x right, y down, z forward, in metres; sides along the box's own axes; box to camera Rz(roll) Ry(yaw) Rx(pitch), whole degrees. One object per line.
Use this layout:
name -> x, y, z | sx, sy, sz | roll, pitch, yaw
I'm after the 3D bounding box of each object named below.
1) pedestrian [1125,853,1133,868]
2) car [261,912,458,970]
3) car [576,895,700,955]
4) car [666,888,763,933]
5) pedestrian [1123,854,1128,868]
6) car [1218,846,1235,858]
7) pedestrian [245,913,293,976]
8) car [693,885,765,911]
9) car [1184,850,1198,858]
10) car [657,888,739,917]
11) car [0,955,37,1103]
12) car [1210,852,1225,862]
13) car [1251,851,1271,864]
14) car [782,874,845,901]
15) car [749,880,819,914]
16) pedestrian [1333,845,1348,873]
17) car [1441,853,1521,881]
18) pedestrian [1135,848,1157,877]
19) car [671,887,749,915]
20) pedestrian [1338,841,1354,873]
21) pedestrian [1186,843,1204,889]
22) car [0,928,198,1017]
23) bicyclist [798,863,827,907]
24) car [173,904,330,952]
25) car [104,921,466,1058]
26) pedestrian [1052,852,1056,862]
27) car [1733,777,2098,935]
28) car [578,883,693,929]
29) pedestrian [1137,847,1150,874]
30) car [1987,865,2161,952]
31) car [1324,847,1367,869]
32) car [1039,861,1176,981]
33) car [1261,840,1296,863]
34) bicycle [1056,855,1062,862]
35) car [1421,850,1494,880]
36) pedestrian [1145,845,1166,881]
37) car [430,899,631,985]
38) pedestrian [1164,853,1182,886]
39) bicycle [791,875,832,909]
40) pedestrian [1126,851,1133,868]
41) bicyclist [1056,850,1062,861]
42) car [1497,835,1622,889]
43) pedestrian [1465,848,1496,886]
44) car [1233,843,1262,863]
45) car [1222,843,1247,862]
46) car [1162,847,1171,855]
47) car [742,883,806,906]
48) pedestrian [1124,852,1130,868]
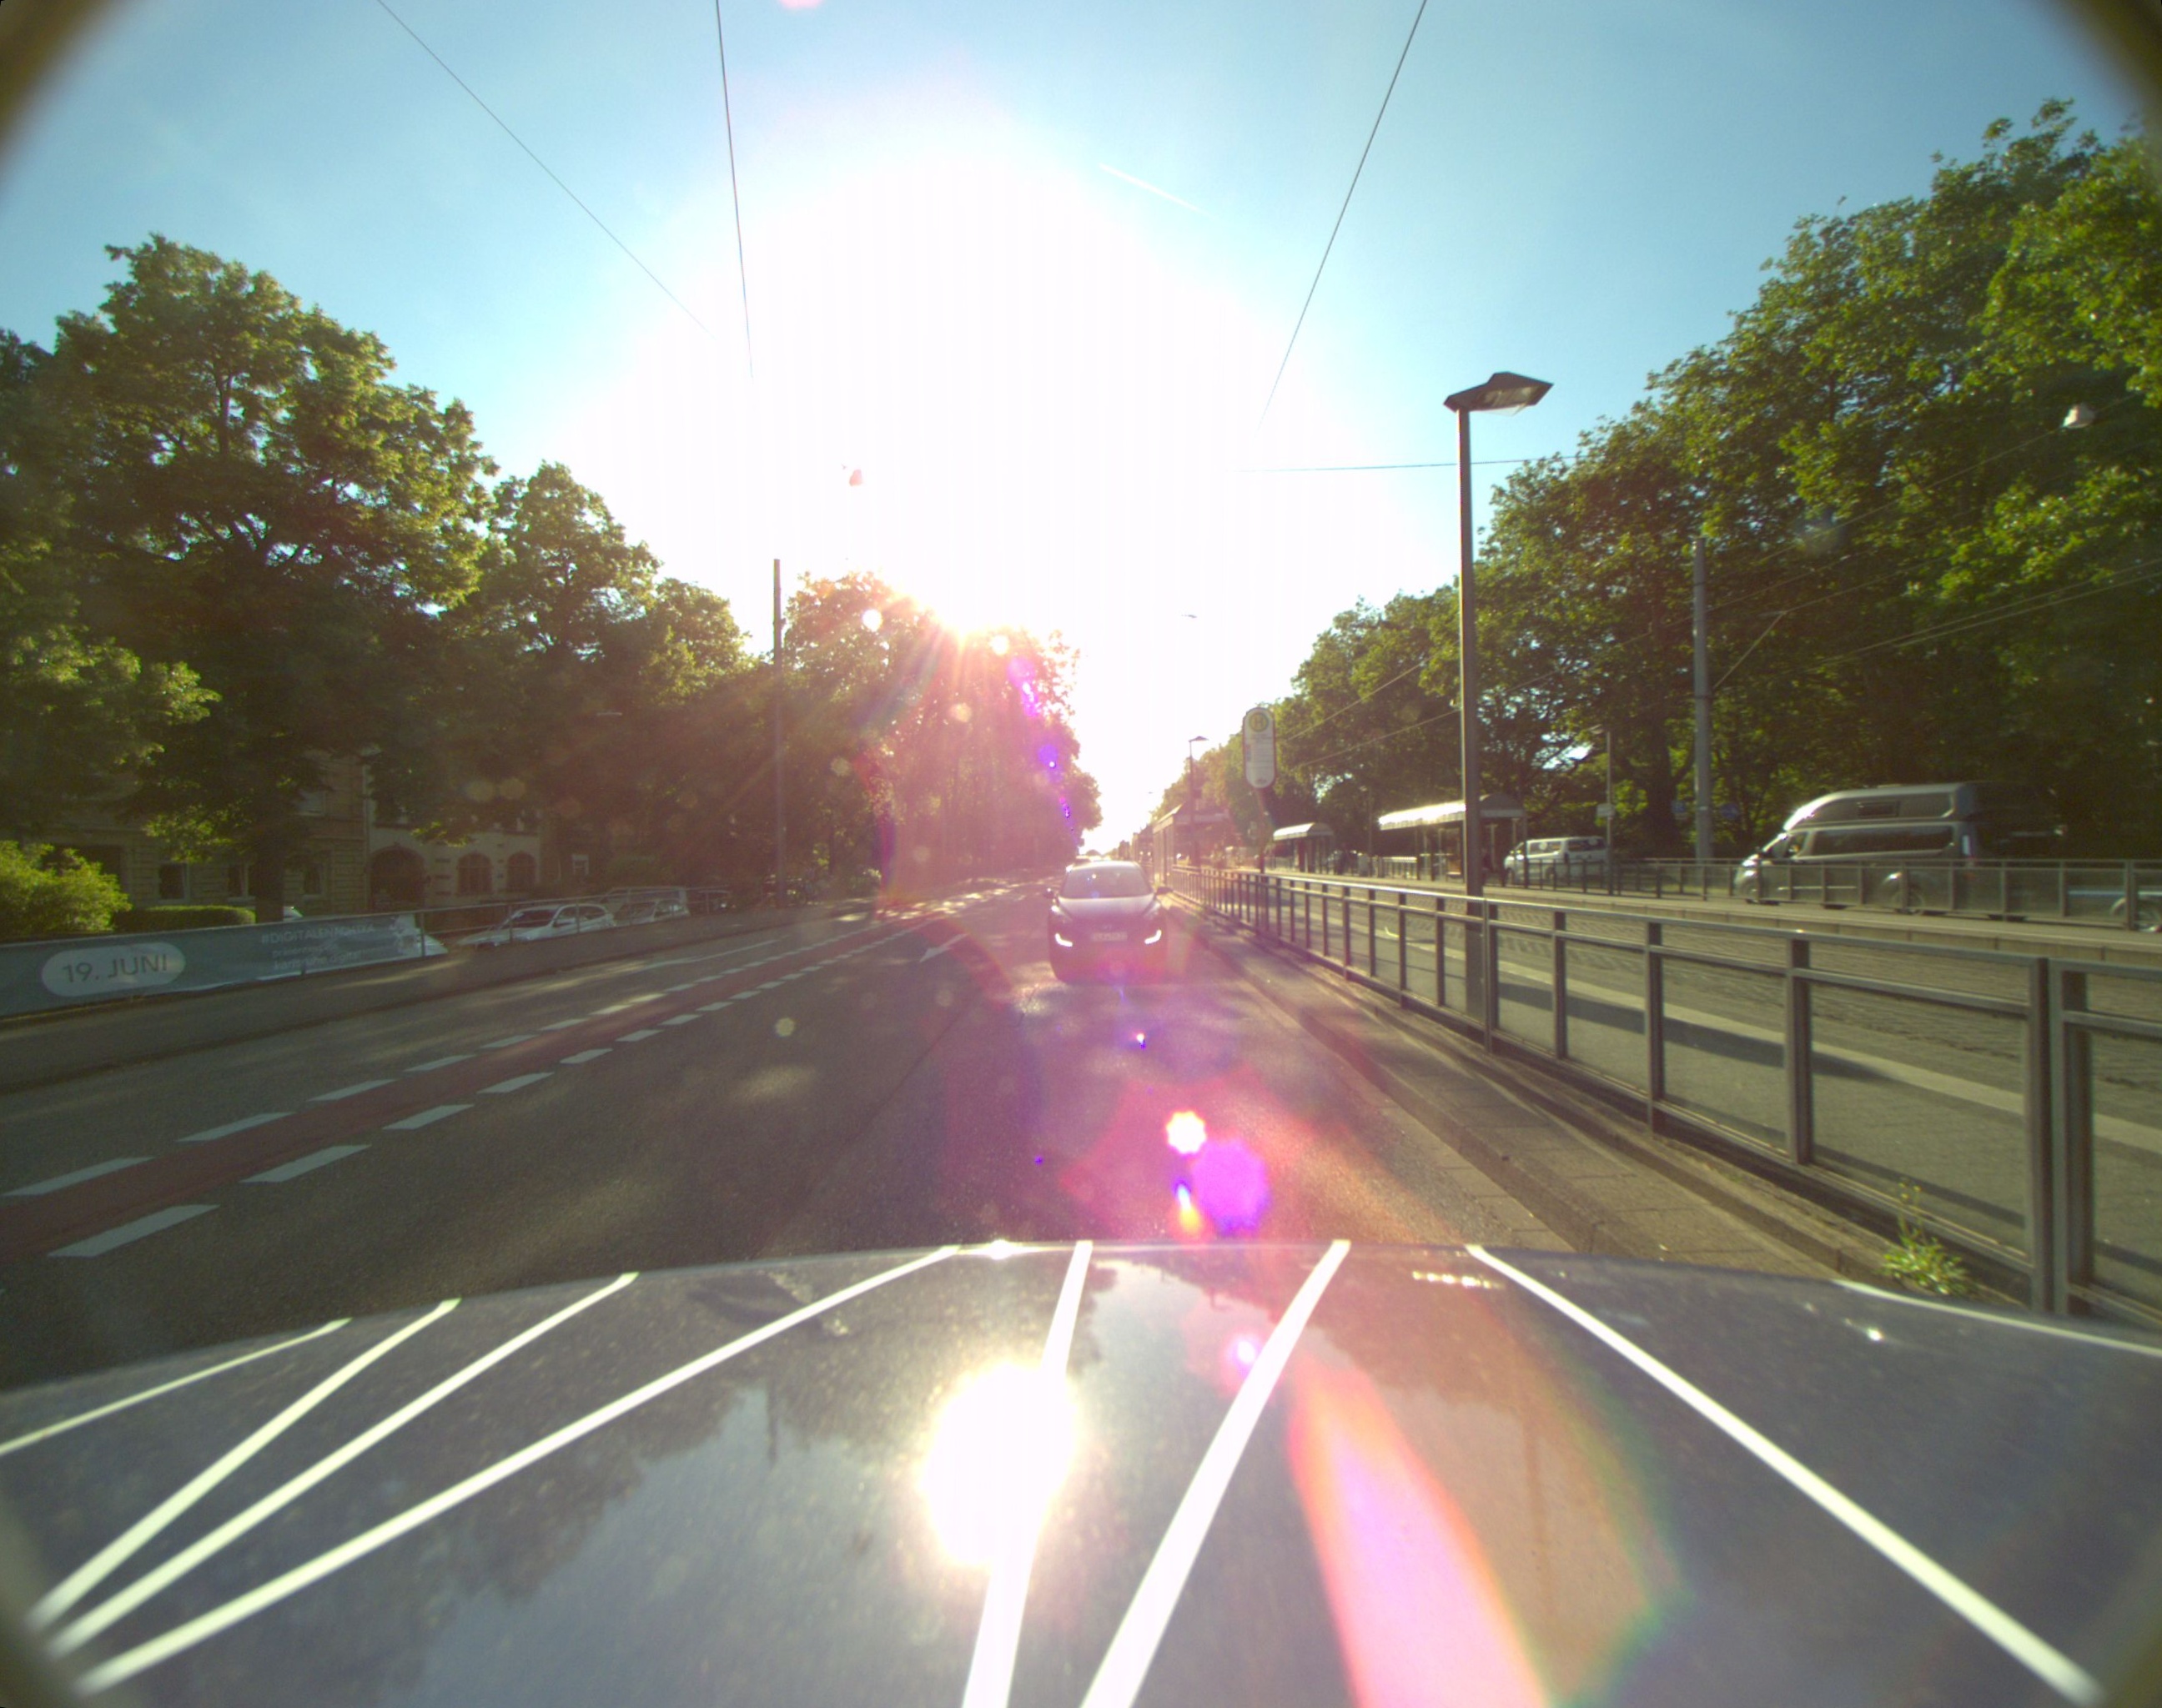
pedestrian -> 4.549, 0.621, 71.737 | 0.592, 1.398, 0.558 | 0, 1, -19
car -> -20.965, 2.504, 22.197 | 3.997, 1.505, 1.800 | 0, 0, -1
car -> -14.025, 2.202, 24.296 | 1.799, 1.433, 3.576 | -2, 1, 0
car -> -14.172, 2.153, 29.664 | 1.799, 1.301, 3.999 | -2, 1, 0
pedestrian -> 4.251, 0.695, 72.304 | 0.417, 1.313, 0.359 | 1, 1, 1
car -> 21.896, -0.300, 114.660 | 1.743, 1.718, 3.881 | 0, 1, -1
pedestrian -> -23.701, 2.636, 22.179 | 0.650, 1.736, 0.631 | -2, 1, -4
car -> -22.494, 2.794, 48.543 | 4.007, 1.501, 1.796 | 0, -1, -31
car -> 20.797, -0.087, 143.782 | 1.832, 1.428, 4.323 | 0, 1, -1
car -> -21.494, 2.709, 42.665 | 3.932, 1.443, 1.685 | 0, -1, -33
car -> -14.166, 2.257, 7.580 | 1.799, 1.792, 4.208 | -3, 1, -6
car -> 21.651, 0.483, 120.549 | 1.743, 1.546, 3.881 | 0, 1, -1
car -> 22.190, 0.425, 93.651 | 1.656, 1.504, 3.264 | 0, 1, -2
car -> -21.319, 2.668, 60.544 | 4.470, 2.002, 1.992 | 0, -1, -29
car -> -14.271, 2.045, 36.790 | 1.799, 1.301, 3.999 | -2, 1, 0
pedestrian -> 14.747, 0.275, 43.153 | 0.594, 1.535, 0.626 | -2, 1, 2
car -> 20.446, 0.618, 39.052 | 1.774, 1.284, 4.314 | 0, 1, -1
pedestrian -> 3.679, 0.484, 43.031 | 0.800, 1.624, 0.868 | -3, 0, 39
car -> -22.213, 2.769, 45.513 | 4.007, 1.501, 1.796 | 0, -1, -31
pedestrian -> 14.757, 0.174, 42.382 | 0.649, 1.762, 0.650 | -2, 1, 4
pedestrian -> 4.221, 0.423, 28.106 | 0.596, 1.668, 0.589 | -2, 1, 6
car -> -21.531, 2.435, 15.631 | 4.006, 1.505, 1.796 | 0, -1, -29
bicyclist -> -9.483, 1.085, 26.849 | 0.768, 1.504, 0.650 | -1, 1, 1
car -> -29.744, 2.643, 27.349 | 3.575, 1.513, 1.800 | 0, 0, -2
car -> -13.948, 2.265, 13.826 | 1.799, 1.570, 4.442 | -2, 1, 1
pedestrian -> -4.614, 0.561, 129.895 | 0.649, 1.626, 0.928 | 1, 1, 2
car -> 16.978, -0.008, 15.990 | 2.072, 2.727, 5.029 | -2, 1, -2
car -> -21.443, 2.456, 36.694 | 4.690, 1.954, 1.868 | 0, -1, -31
pedestrian -> 4.103, 0.433, 49.745 | 0.744, 1.684, 0.791 | -3, 1, 2
car -> 17.088, 0.837, 12.002 | 2.072, 1.156, 2.911 | -2, 1, -2
car -> 21.012, 0.270, 60.417 | 1.908, 1.642, 3.971 | 0, 1, -2
car -> 0.394, 0.931, 12.303 | 1.798, 1.501, 4.000 | -2, 0, 1
car -> 22.031, -0.324, 84.969 | 2.189, 2.506, 6.031 | 0, 1, -1
bicycle -> -3.549, 0.668, 122.424 | 0.700, 1.101, 1.931 | -1, 0, 9
car -> 20.476, 0.556, 41.522 | 1.799, 1.501, 4.340 | 0, 1, -1
pedestrian -> 3.709, 0.442, 37.807 | 0.654, 1.712, 0.708 | -3, 1, -34
car -> -14.078, 2.176, 19.837 | 1.799, 1.570, 4.552 | -2, 1, 1
pedestrian -> 3.814, 0.643, 31.542 | 0.680, 1.301, 0.593 | -2, 1, 2
bicycle -> -9.487, 1.314, 26.821 | 0.768, 1.101, 1.800 | -1, 0, 1
pedestrian -> 4.674, 0.521, 73.582 | 0.520, 1.559, 0.509 | 2, 1, 31
bicyclist -> -3.558, 0.306, 122.421 | 0.700, 1.718, 1.081 | -1, 0, 9
car -> 20.249, 0.289, 32.469 | 2.072, 2.112, 5.089 | 0, 1, -1
pedestrian -> 14.040, 0.443, 26.726 | 0.671, 1.317, 0.757 | 1, 1, -1
car -> 21.871, -0.133, 100.103 | 2.189, 2.506, 6.269 | 0, 1, -2
car -> 21.770, -0.264, 107.945 | 2.189, 2.506, 6.049 | 0, 1, -1
car -> 21.695, -0.717, 192.566 | 1.832, 1.830, 4.393 | 0, 1, -1
car -> -21.927, 2.880, 54.259 | 4.007, 1.501, 1.796 | 0, -1, -31
pedestrian -> 4.402, 0.571, 72.825 | 0.591, 1.511, 0.514 | 1, 1, 2
